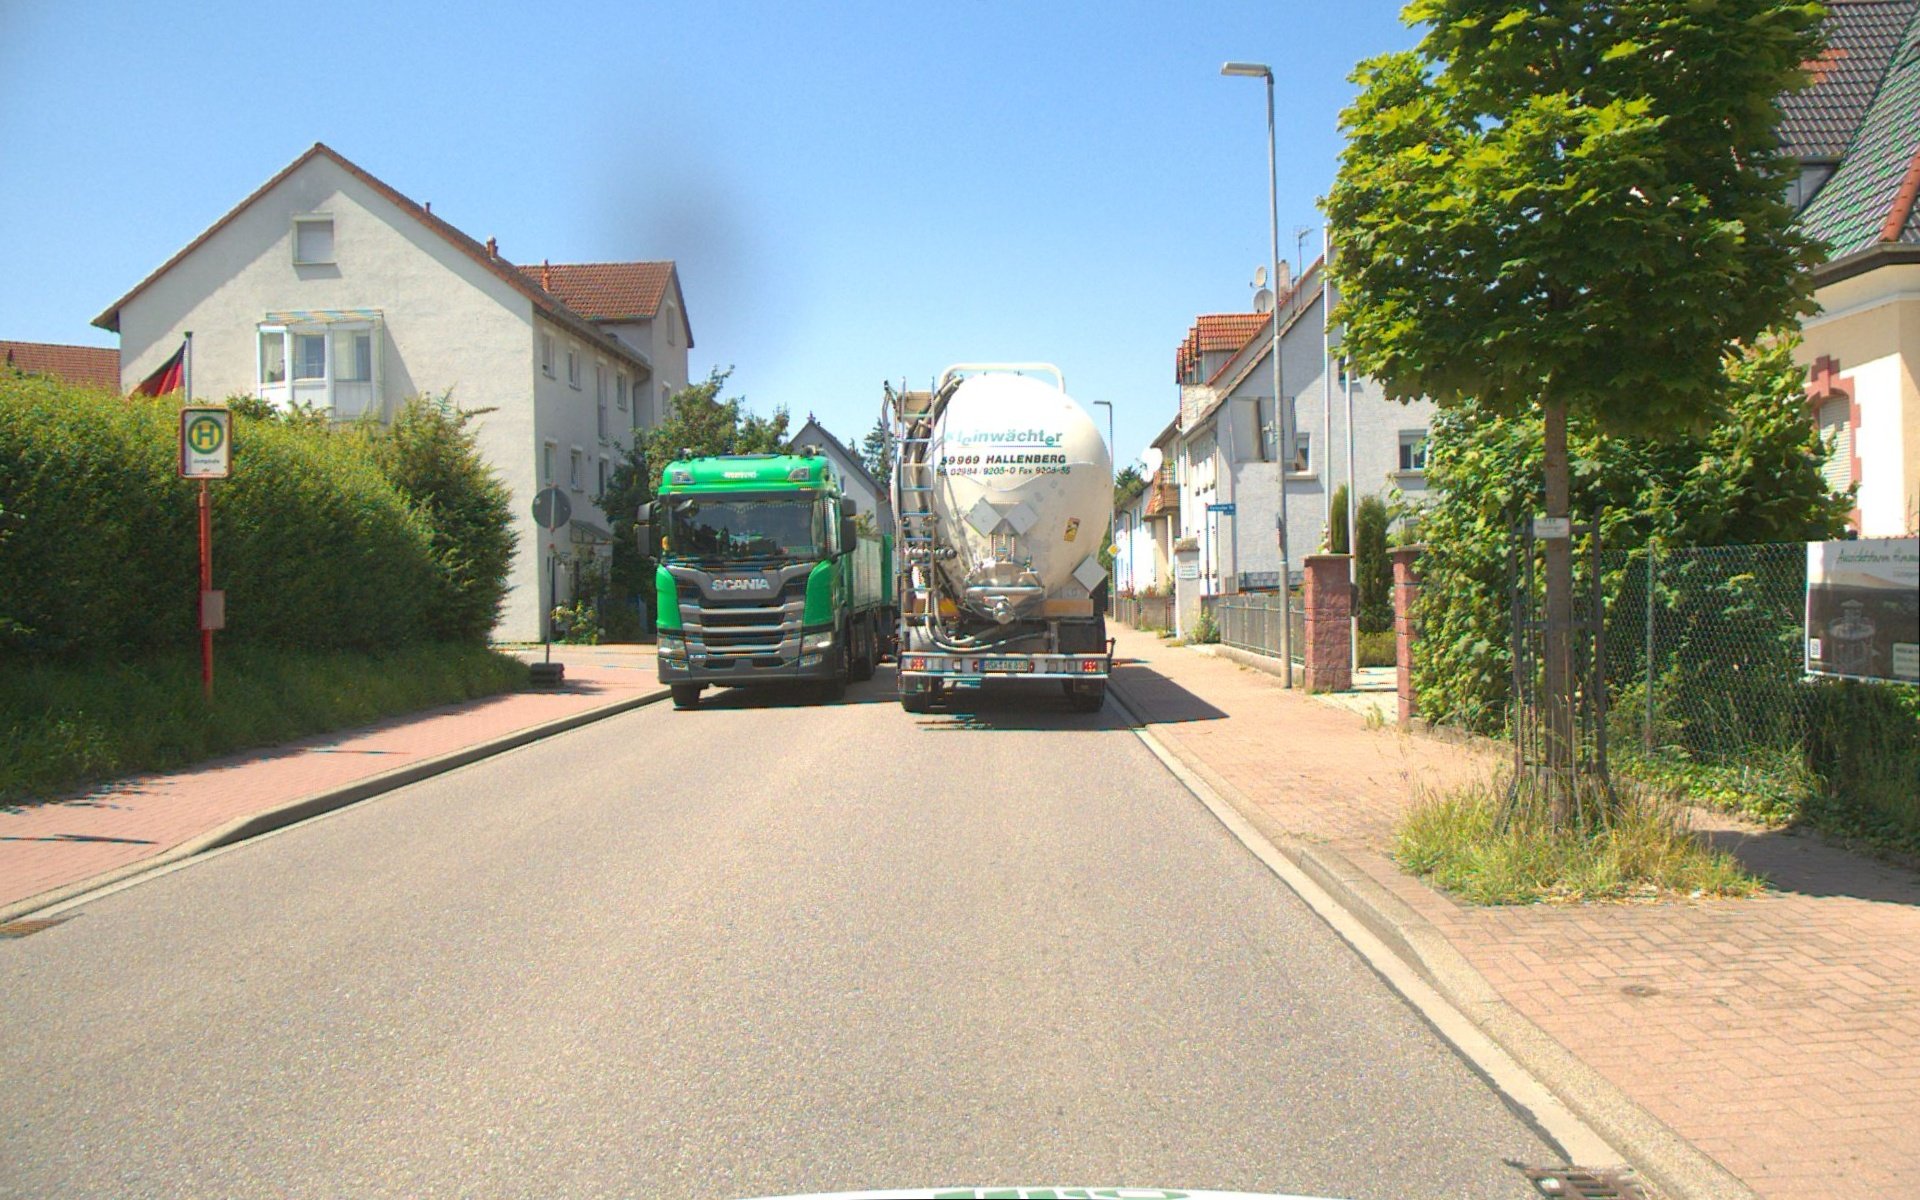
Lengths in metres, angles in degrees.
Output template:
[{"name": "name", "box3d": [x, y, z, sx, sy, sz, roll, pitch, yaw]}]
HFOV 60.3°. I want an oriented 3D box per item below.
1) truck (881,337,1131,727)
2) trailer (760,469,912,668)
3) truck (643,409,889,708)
[{"name": "truck", "box3d": [0.538, -0.753, 22.259, 2.586, 4.086, 9.562, -1, 0, 1]}, {"name": "trailer", "box3d": [-2.480, -0.644, 35.690, 2.478, 3.712, 8.462, -1, 0, 0]}, {"name": "truck", "box3d": [-2.716, -0.578, 26.386, 2.514, 3.765, 10.079, -2, 0, 0]}]
